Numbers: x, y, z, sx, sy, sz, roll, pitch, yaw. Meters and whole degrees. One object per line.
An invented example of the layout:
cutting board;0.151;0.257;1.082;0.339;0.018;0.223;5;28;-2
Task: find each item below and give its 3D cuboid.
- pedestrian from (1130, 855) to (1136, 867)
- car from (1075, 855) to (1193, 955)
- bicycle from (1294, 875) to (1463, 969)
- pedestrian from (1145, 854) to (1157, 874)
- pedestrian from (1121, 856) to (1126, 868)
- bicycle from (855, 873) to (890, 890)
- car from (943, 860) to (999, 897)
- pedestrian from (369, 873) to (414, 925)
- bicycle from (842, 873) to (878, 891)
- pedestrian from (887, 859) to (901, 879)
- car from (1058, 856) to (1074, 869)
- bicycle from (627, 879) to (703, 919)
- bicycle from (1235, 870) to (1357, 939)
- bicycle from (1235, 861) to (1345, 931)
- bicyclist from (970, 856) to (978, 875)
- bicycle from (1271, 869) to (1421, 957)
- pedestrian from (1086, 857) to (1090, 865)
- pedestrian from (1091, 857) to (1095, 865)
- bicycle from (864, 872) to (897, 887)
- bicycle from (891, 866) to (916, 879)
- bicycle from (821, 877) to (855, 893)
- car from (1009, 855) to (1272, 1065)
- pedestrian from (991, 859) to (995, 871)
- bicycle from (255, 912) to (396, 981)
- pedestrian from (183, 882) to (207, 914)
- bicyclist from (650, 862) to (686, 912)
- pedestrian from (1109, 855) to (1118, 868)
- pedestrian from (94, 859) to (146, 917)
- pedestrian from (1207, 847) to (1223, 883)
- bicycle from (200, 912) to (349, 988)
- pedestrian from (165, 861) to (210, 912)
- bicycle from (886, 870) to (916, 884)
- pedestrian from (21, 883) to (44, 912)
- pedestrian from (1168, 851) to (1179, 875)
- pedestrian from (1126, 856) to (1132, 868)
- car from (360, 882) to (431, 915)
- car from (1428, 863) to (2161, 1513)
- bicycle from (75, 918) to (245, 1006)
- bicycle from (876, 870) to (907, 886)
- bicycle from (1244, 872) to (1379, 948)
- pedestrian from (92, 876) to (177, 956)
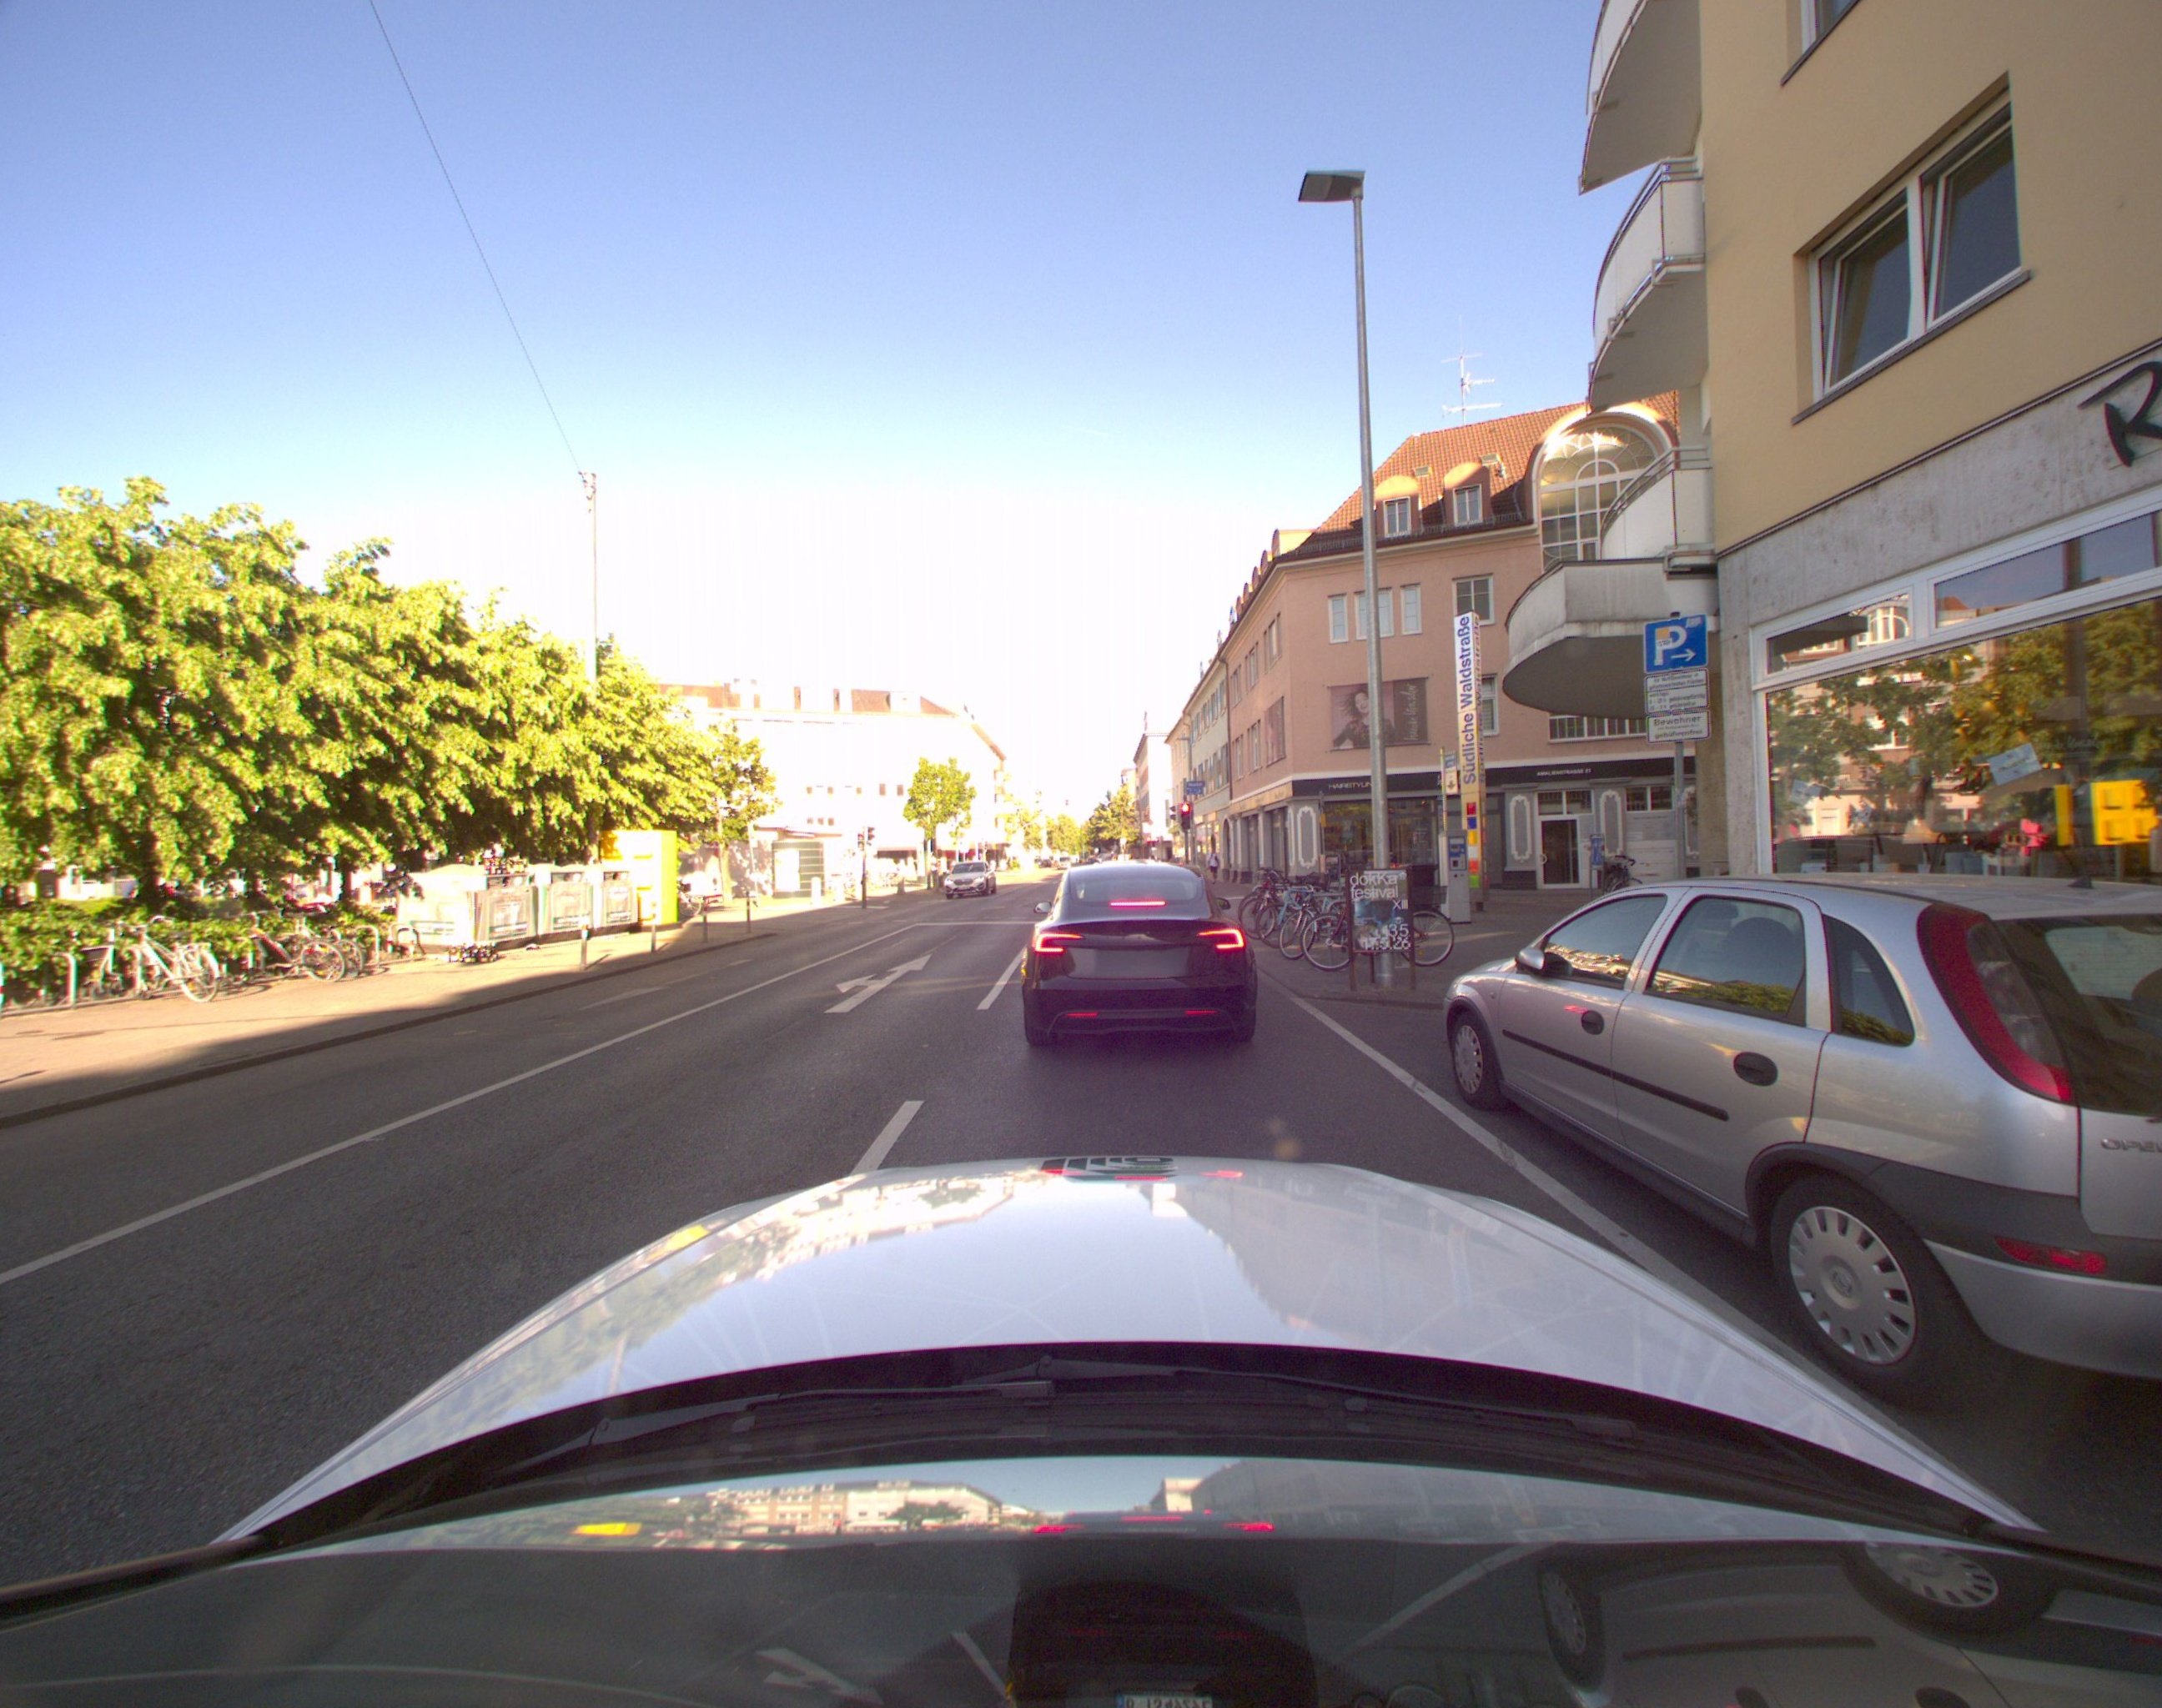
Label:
pedestrian;6.072;0.848;95.861;0.524;1.422;0.475;0;-1;-28
car;0.791;0.747;13.856;1.712;1.425;3.757;-1;0;0
bicycle;3.626;0.835;10.020;1.862;1.038;0.354;-3;-1;8
pedestrian;5.948;0.842;69.332;0.756;1.631;0.951;0;-1;-16
pedestrian;5.011;0.890;95.861;0.474;1.417;0.517;0;-1;-29
bicycle;-12.237;1.615;47.779;1.857;0.934;0.606;0;-1;0
car;-4.862;1.045;36.406;1.782;1.460;3.759;-4;-1;2
pedestrian;-27.568;1.768;32.567;1.025;2.014;1.061;-1;-1;31
bicycle;-12.393;1.549;45.666;1.857;0.934;0.606;-1;0;0
pedestrian;-18.478;1.472;80.351;1.051;2.014;1.057;0;-1;7
car;-1.946;1.143;106.069;1.780;1.646;4.404;0;-1;2
bicycle;-12.558;1.346;24.642;1.940;1.118;0.704;-1;-1;-20
bicycle;3.588;0.838;13.697;1.863;1.038;0.548;-3;-1;7
bicycle;3.774;0.758;14.799;1.818;1.169;0.507;-3;-1;7
bicyclist;-8.707;0.936;66.481;0.525;1.503;0.472;0;-1;-24
bicycle;3.613;0.806;11.196;1.864;1.087;0.415;-3;-1;5
pedestrian;1.769;1.734;203.416;0.927;2.014;0.939;0;-1;1
pedestrian;3.094;1.726;203.627;0.927;2.014;0.939;0;-1;1
bicycle;-12.362;1.562;50.258;1.857;0.934;0.606;0;-1;0
bicycle;-17.116;1.778;78.504;2.373;1.296;0.509;0;-1;-25
bicycle;-12.843;1.633;43.090;1.640;0.792;0.606;0;-1;-3
car;0.481;0.760;7.711;1.816;1.442;4.001;-1;-1;2
pedestrian;-10.332;1.271;95.750;0.459;1.460;0.517;-1;0;-3
bicycle;-11.324;1.370;12.212;1.888;0.955;0.518;-1;-1;11
pedestrian;-48.867;2.438;44.902;0.842;1.717;0.761;-2;-1;35
bicyclist;-12.496;0.984;24.665;0.893;1.482;0.697;0;-1;-20
pedestrian;4.137;0.975;103.764;0.719;1.695;0.843;-1;0;-26
pedestrian;-34.291;1.198;29.072;0.890;2.013;0.893;-1;0;15
pedestrian;6.737;0.544;41.082;0.747;1.765;0.838;0;-1;6
bicycle;-11.532;1.353;11.655;1.913;1.003;0.518;-1;-1;11
pedestrian;-36.141;1.298;32.939;0.890;2.013;0.893;-1;0;15
bicycle;-12.192;1.559;55.135;1.857;0.934;0.606;-1;0;0
pedestrian;-78.074;3.225;60.643;0.891;2.171;0.882;-1;-1;26
pedestrian;6.645;0.638;58.479;0.704;1.742;0.540;-1;0;1
pedestrian;5.651;0.980;95.370;0.524;1.422;0.475;0;-1;-28
car;-31.952;2.029;37.949;3.526;1.386;1.703;-1;0;36
car;2.951;0.756;3.521;1.540;1.390;3.479;-1;-1;3
bicycle;-11.626;1.338;10.288;1.919;1.015;0.518;-1;-1;12
bicycle;-12.272;1.540;52.687;1.857;0.934;0.606;-1;0;0
bicycle;3.502;0.848;12.478;1.864;1.038;0.534;-3;-1;5
pedestrian;-24.813;1.607;21.380;1.051;2.014;0.971;0;-1;-10
